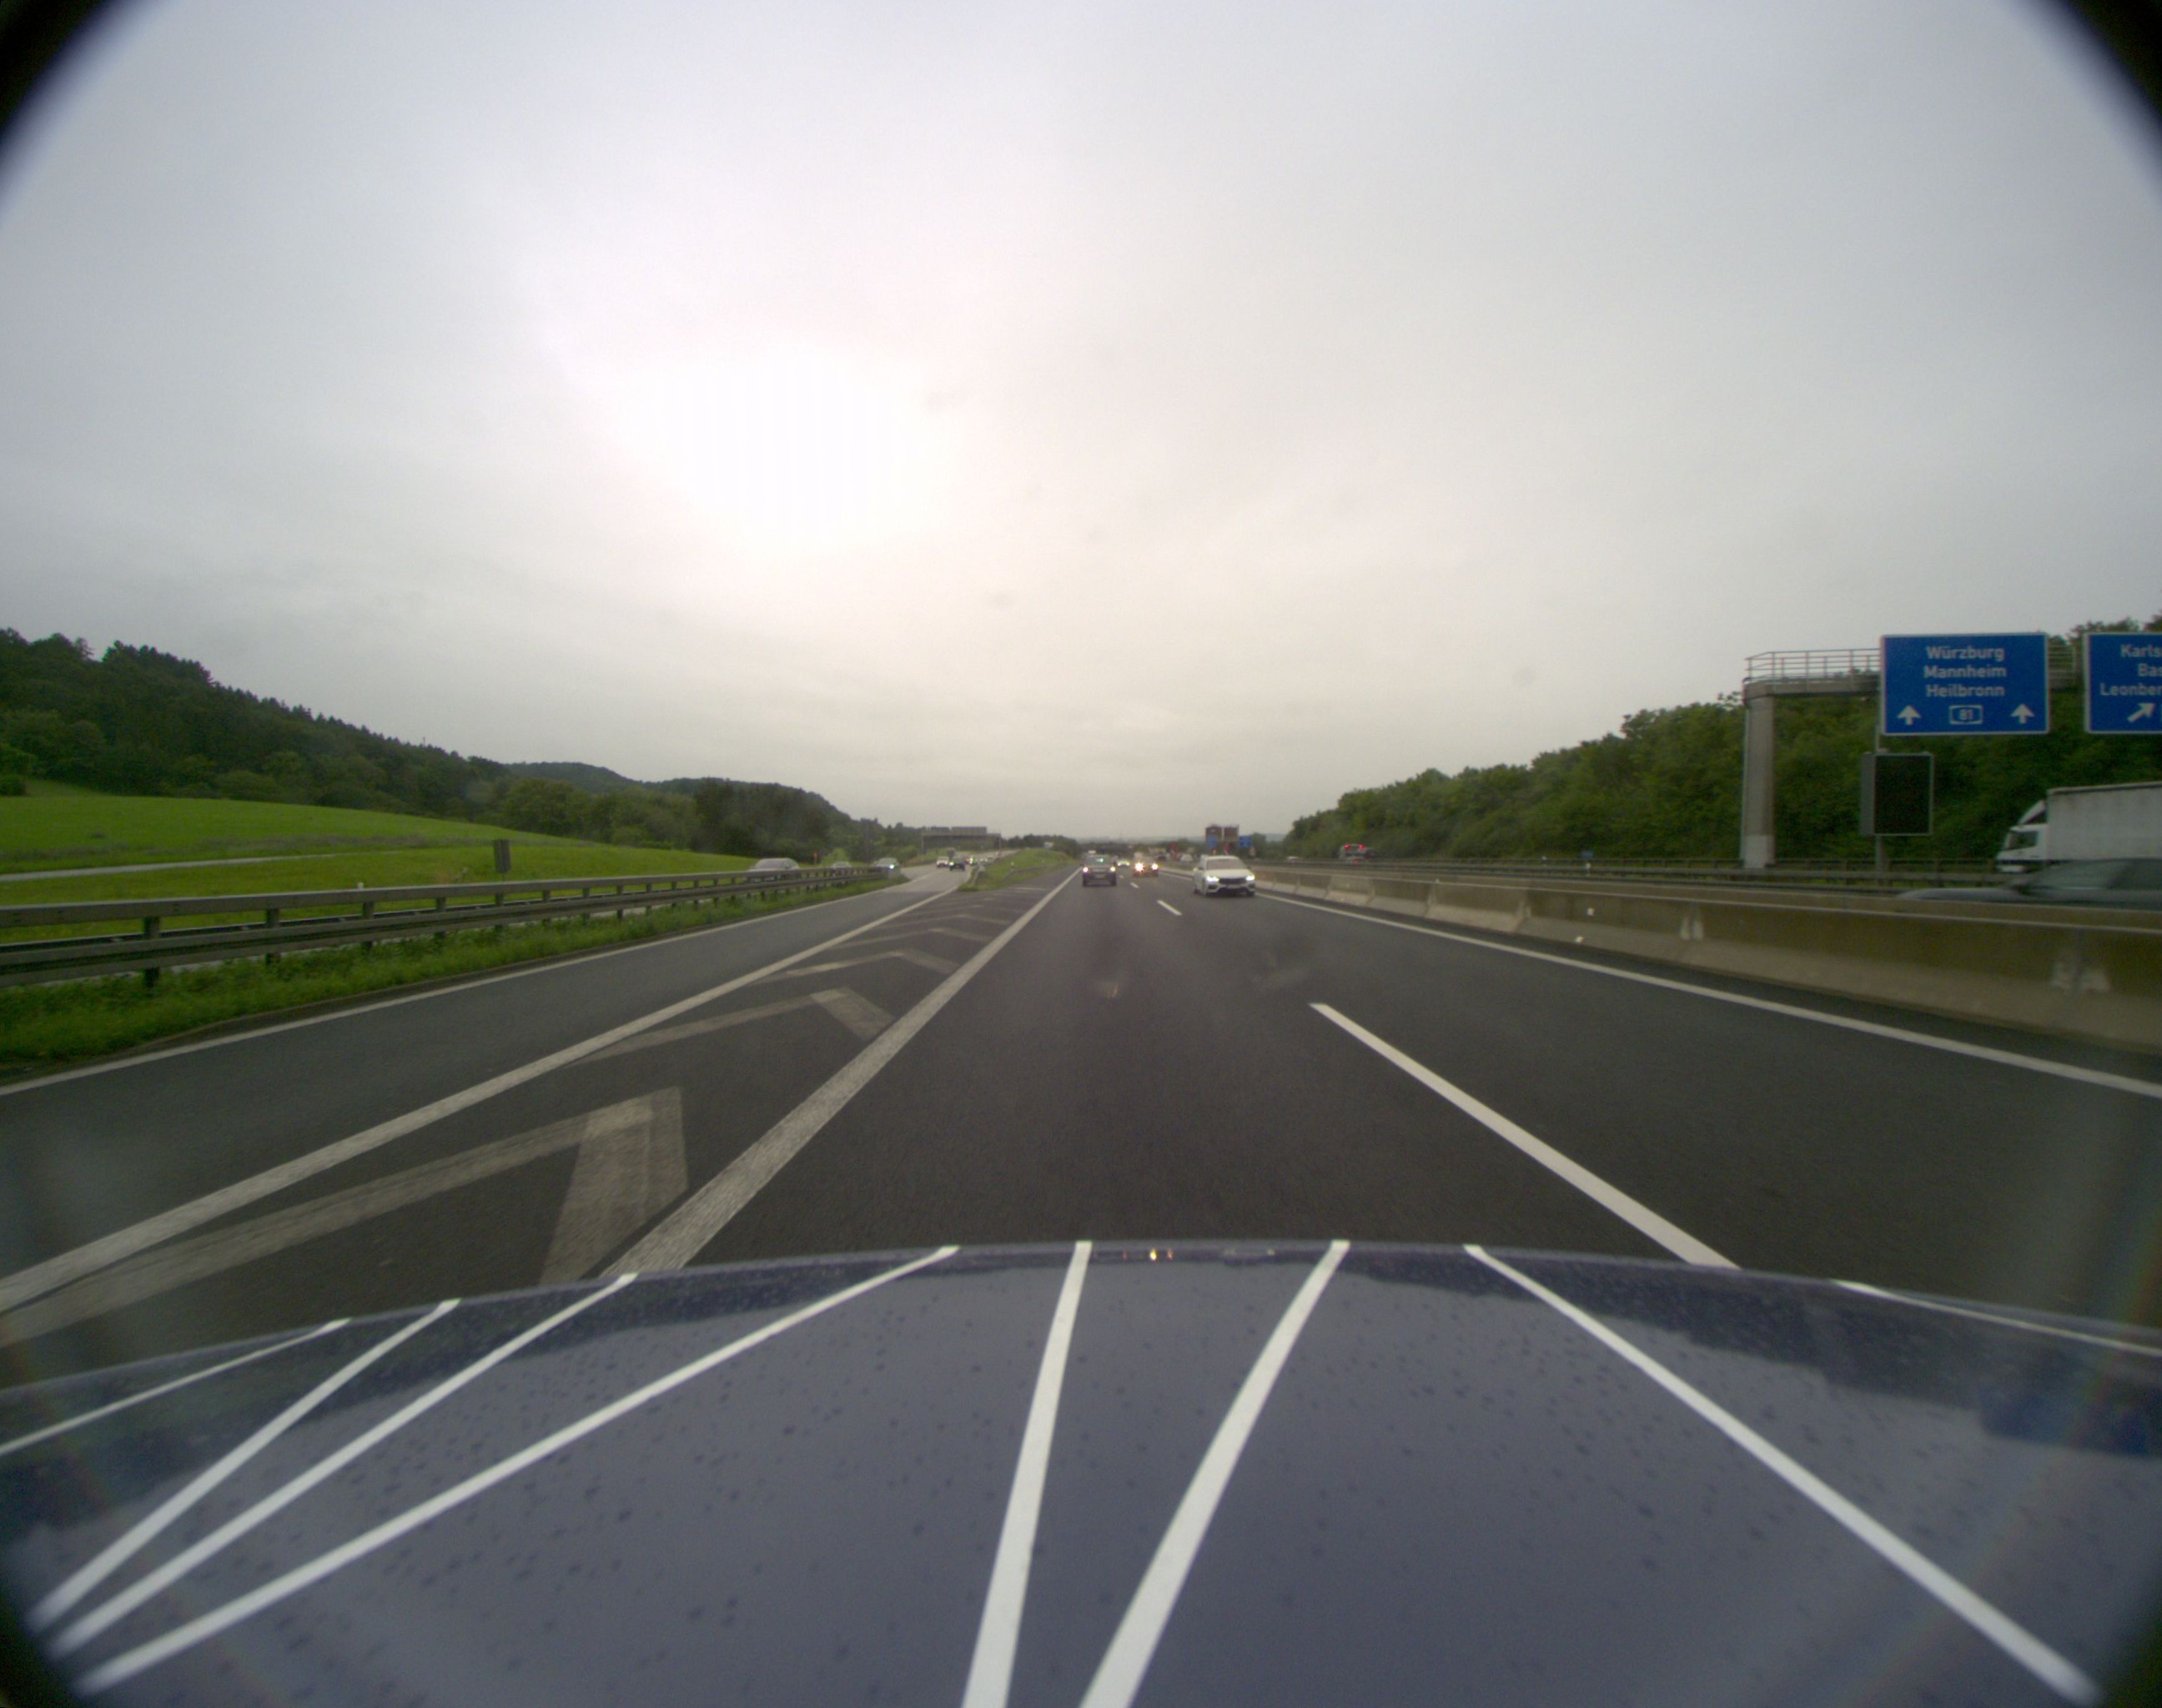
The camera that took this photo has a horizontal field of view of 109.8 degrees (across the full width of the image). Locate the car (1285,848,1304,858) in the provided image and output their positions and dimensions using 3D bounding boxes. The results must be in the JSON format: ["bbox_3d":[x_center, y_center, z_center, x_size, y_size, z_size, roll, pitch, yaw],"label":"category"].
[{"bbox_3d":[34.919,-0.114,124.249,1.662,1.572,4.777,-2,1,0],"label":"car"}]

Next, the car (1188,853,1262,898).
[{"bbox_3d":[5.305,0.735,28.617,1.823,1.448,4.777,-2,1,0],"label":"car"}]

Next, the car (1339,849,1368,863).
[{"bbox_3d":[28.964,0.210,80.990,1.680,1.448,4.000,-2,1,1],"label":"car"}]

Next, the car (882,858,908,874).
[{"bbox_3d":[-17.256,1.105,70.638,1.672,1.375,4.123,-2,1,-6],"label":"car"}]

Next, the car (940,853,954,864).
[{"bbox_3d":[-22.410,0.699,127.160,1.914,1.684,4.716,-2,1,-4],"label":"car"}]

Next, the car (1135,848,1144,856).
[{"bbox_3d":[16.635,-0.649,217.416,2.135,2.309,5.691,-2,1,0],"label":"car"}]

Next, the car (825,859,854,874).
[{"bbox_3d":[-26.363,1.369,83.182,1.904,1.446,4.708,-2,1,-4],"label":"car"}]

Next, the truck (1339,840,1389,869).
[{"bbox_3d":[34.049,0.010,91.852,2.858,3.202,9.078,-2,1,1],"label":"truck"}]

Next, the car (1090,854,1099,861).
[{"bbox_3d":[3.205,0.886,175.948,1.919,1.481,4.566,-2,1,0],"label":"car"}]

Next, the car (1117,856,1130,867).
[{"bbox_3d":[6.289,1.097,113.641,1.725,1.481,4.567,-2,1,2],"label":"car"}]

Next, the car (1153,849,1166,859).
[{"bbox_3d":[15.134,-0.026,146.328,1.875,1.672,4.777,-2,1,0],"label":"car"}]

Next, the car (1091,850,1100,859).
[{"bbox_3d":[3.363,0.137,181.798,2.016,1.994,4.566,-2,1,0],"label":"car"}]

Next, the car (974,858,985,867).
[{"bbox_3d":[-20.181,1.656,151.247,1.914,1.684,4.717,-2,1,-3],"label":"car"}]

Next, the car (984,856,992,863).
[{"bbox_3d":[-24.568,1.329,200.729,1.914,1.684,4.717,-2,1,-3],"label":"car"}]

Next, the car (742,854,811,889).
[{"bbox_3d":[-15.749,0.855,39.548,1.774,1.600,4.642,-2,1,-2],"label":"car"}]

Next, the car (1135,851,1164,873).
[{"bbox_3d":[5.122,0.561,57.639,1.726,1.481,4.566,-2,1,0],"label":"car"}]

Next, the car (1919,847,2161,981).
[{"bbox_3d":[12.992,0.668,8.784,1.760,1.448,4.418,-2,1,1],"label":"car"}]

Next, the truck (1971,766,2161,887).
[{"bbox_3d":[35.957,-0.930,24.599,3.082,3.856,9.634,-2,1,1],"label":"truck"}]

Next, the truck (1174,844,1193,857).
[{"bbox_3d":[19.615,-0.660,145.699,2.582,2.327,7.341,-2,1,1],"label":"truck"}]

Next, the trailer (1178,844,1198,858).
[{"bbox_3d":[19.412,-0.580,138.129,2.582,2.327,7.946,-2,1,1],"label":"trailer"}]

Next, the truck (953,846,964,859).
[{"bbox_3d":[-40.214,-0.512,250.189,2.800,3.878,10.022,-2,1,-6],"label":"truck"}]

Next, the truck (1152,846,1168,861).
[{"bbox_3d":[21.075,-0.168,203.536,2.933,3.855,16.089,-2,1,1],"label":"truck"}]

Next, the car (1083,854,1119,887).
[{"bbox_3d":[1.040,0.851,41.009,1.813,1.571,3.834,-2,1,1],"label":"car"}]

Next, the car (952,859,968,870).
[{"bbox_3d":[-15.852,1.352,99.837,1.868,1.349,4.564,-2,1,-6],"label":"car"}]

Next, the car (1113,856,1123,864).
[{"bbox_3d":[7.315,1.152,150.171,1.726,1.481,4.566,-2,1,0],"label":"car"}]

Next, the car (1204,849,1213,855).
[{"bbox_3d":[37.250,-0.579,222.741,1.823,1.448,4.777,-2,1,0],"label":"car"}]
